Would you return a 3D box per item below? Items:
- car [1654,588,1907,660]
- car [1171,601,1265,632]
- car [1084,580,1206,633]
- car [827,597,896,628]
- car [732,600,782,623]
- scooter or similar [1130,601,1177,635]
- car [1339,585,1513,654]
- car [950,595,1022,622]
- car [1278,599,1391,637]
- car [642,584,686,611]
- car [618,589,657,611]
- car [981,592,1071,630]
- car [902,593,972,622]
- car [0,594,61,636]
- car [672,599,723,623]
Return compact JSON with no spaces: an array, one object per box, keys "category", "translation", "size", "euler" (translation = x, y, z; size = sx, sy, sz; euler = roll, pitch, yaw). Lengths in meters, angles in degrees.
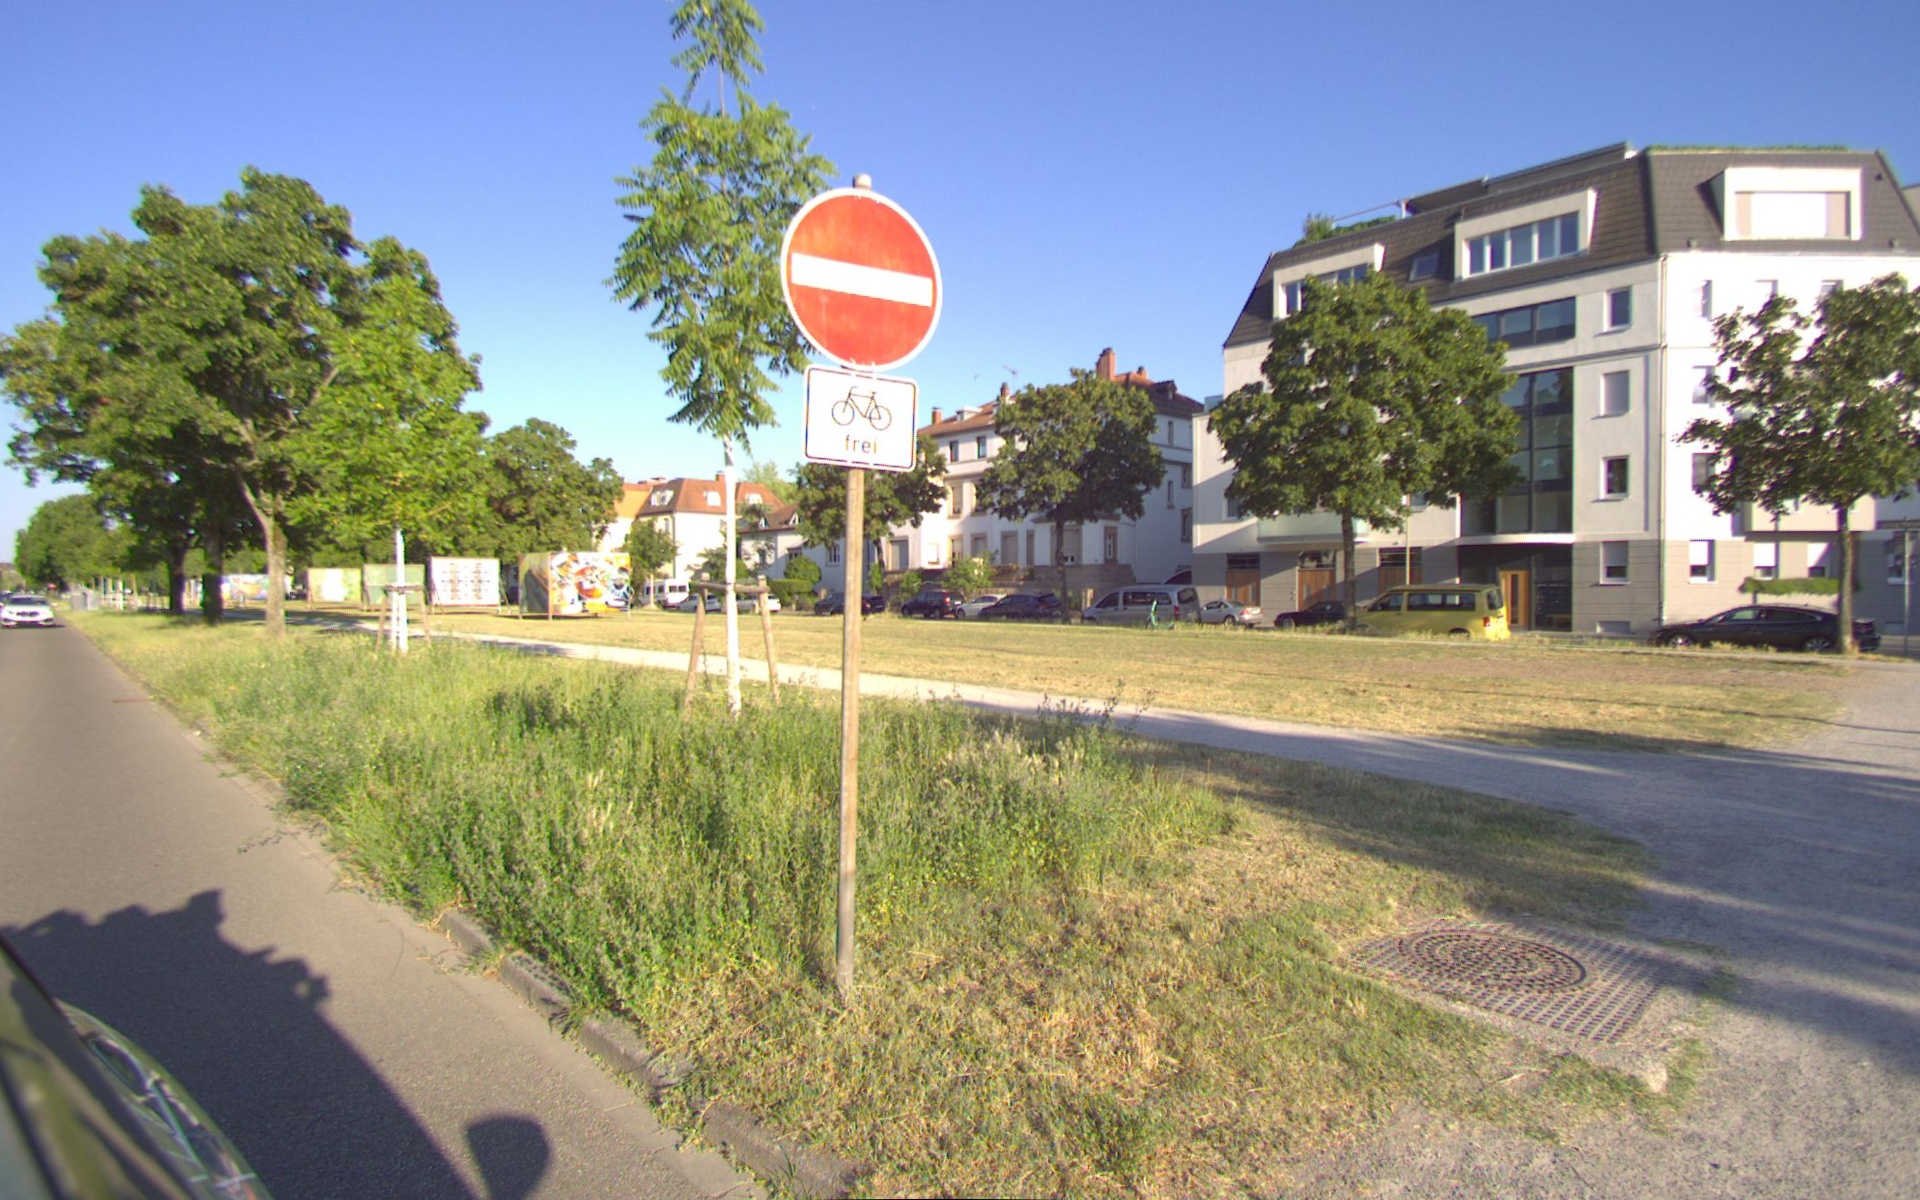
[{"category":"car","translation":[20.912,0.533,25.974],"size":[1.761,1.681,4.845],"euler":[0,0,-42]},{"category":"car","translation":[11.391,0.714,44.768],"size":[3.731,1.249,1.603],"euler":[1,0,43]},{"category":"car","translation":[7.433,0.253,41.024],"size":[2.048,2.029,4.579],"euler":[0,0,-44]},{"category":"car","translation":[-5.394,0.637,55.072],"size":[1.799,1.592,3.840],"euler":[0,1,-43]},{"category":"car","translation":[-14.741,0.835,73.435],"size":[1.799,1.592,3.972],"euler":[0,1,-43]},{"category":"scooter or similar","translation":[6.679,0.619,35.021],"size":[0.446,1.124,1.650],"euler":[0,0,-42]},{"category":"car","translation":[14.878,0.572,32.484],"size":[2.002,2.029,4.699],"euler":[0,0,-44]},{"category":"car","translation":[1.407,0.451,55.924],"size":[1.618,1.457,4.013],"euler":[1,0,-43]},{"category":"car","translation":[15.137,0.690,41.086],"size":[1.652,1.474,4.005],"euler":[0,1,-42]},{"category":"car","translation":[-24.542,-0.225,83.812],"size":[1.969,2.230,4.138],"euler":[0,0,-40]},{"category":"car","translation":[-29.483,-0.057,92.333],"size":[1.969,1.960,4.138],"euler":[0,1,-40]},{"category":"car","translation":[2.931,0.451,45.326],"size":[1.799,1.592,3.840],"euler":[0,1,-43]},{"category":"car","translation":[-1.381,0.405,59.160],"size":[1.798,1.592,4.167],"euler":[0,1,-43]},{"category":"car","translation":[-41.204,0.612,44.777],"size":[1.844,1.708,4.303],"euler":[-3,2,-45]},{"category":"car","translation":[-17.764,0.713,68.411],"size":[1.799,1.592,3.840],"euler":[0,1,-43]}]
